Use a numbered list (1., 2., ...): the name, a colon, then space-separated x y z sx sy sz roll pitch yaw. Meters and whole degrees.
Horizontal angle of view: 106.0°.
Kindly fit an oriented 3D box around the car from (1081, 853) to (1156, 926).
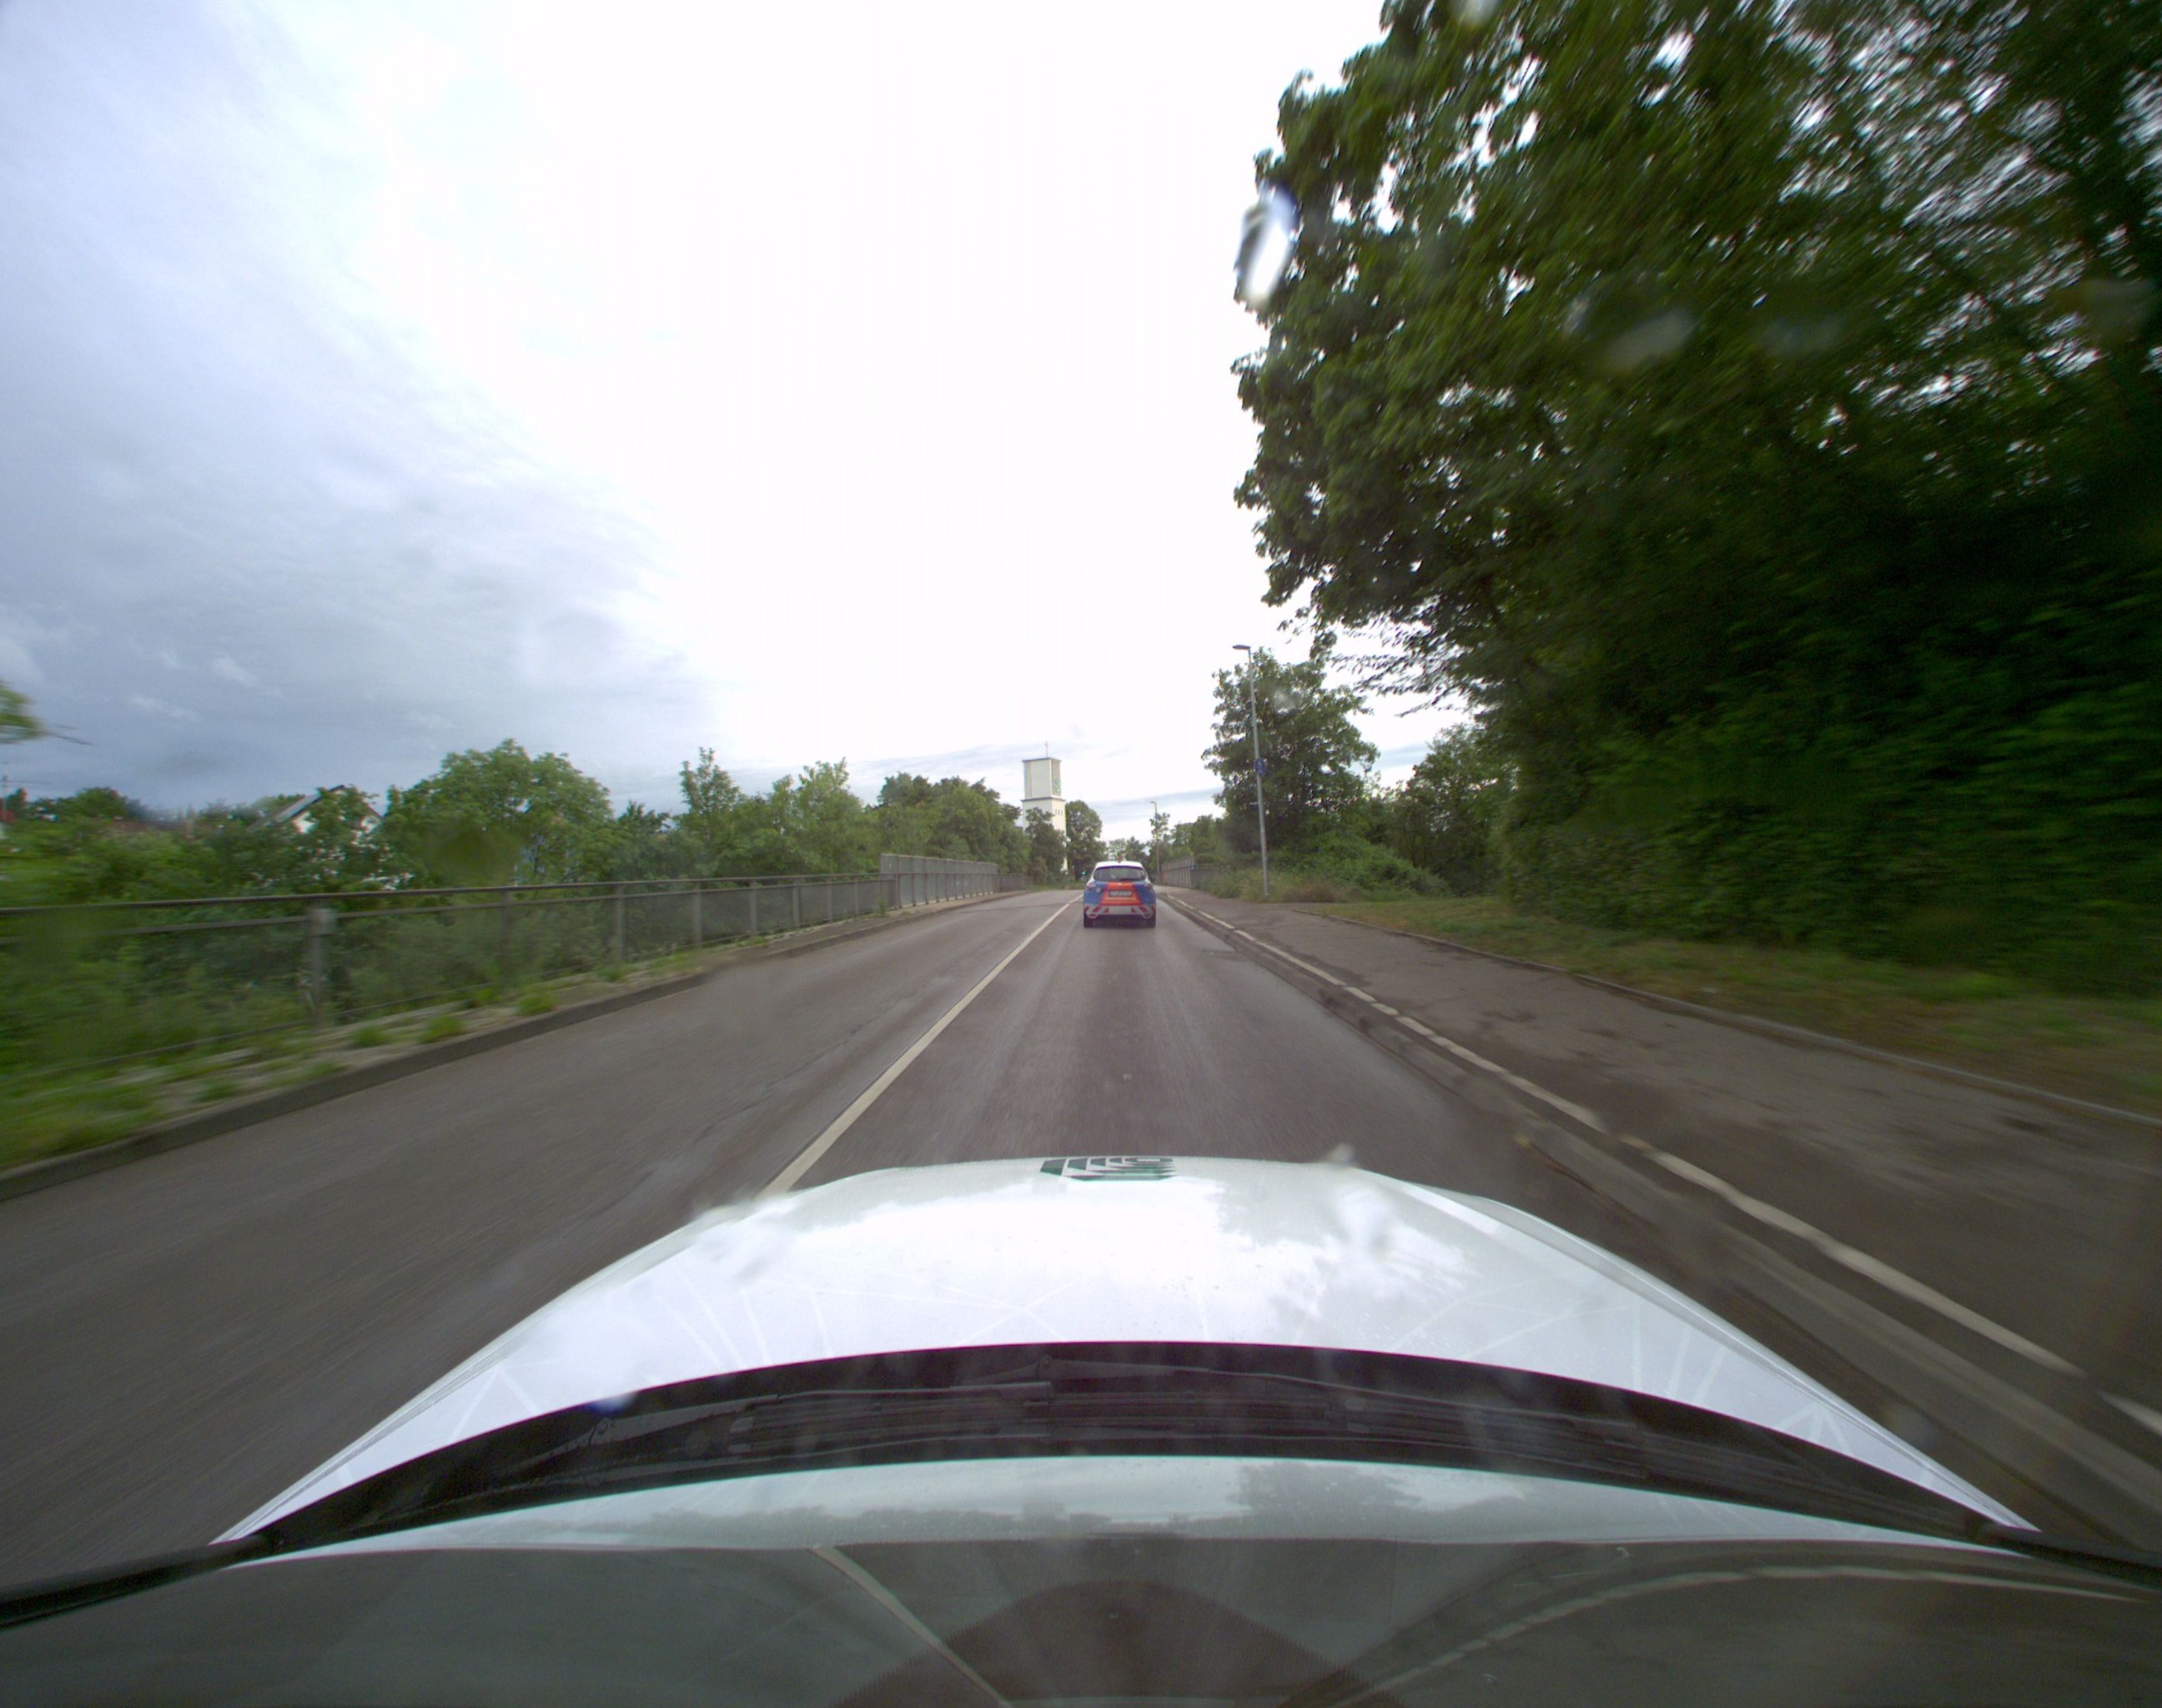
1. car: 0.917 0.841 20.298 1.651 1.593 3.569 -2 -1 2

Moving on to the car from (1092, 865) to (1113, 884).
1. car: 2.024 1.898 75.679 1.796 1.590 3.563 -3 -1 1
